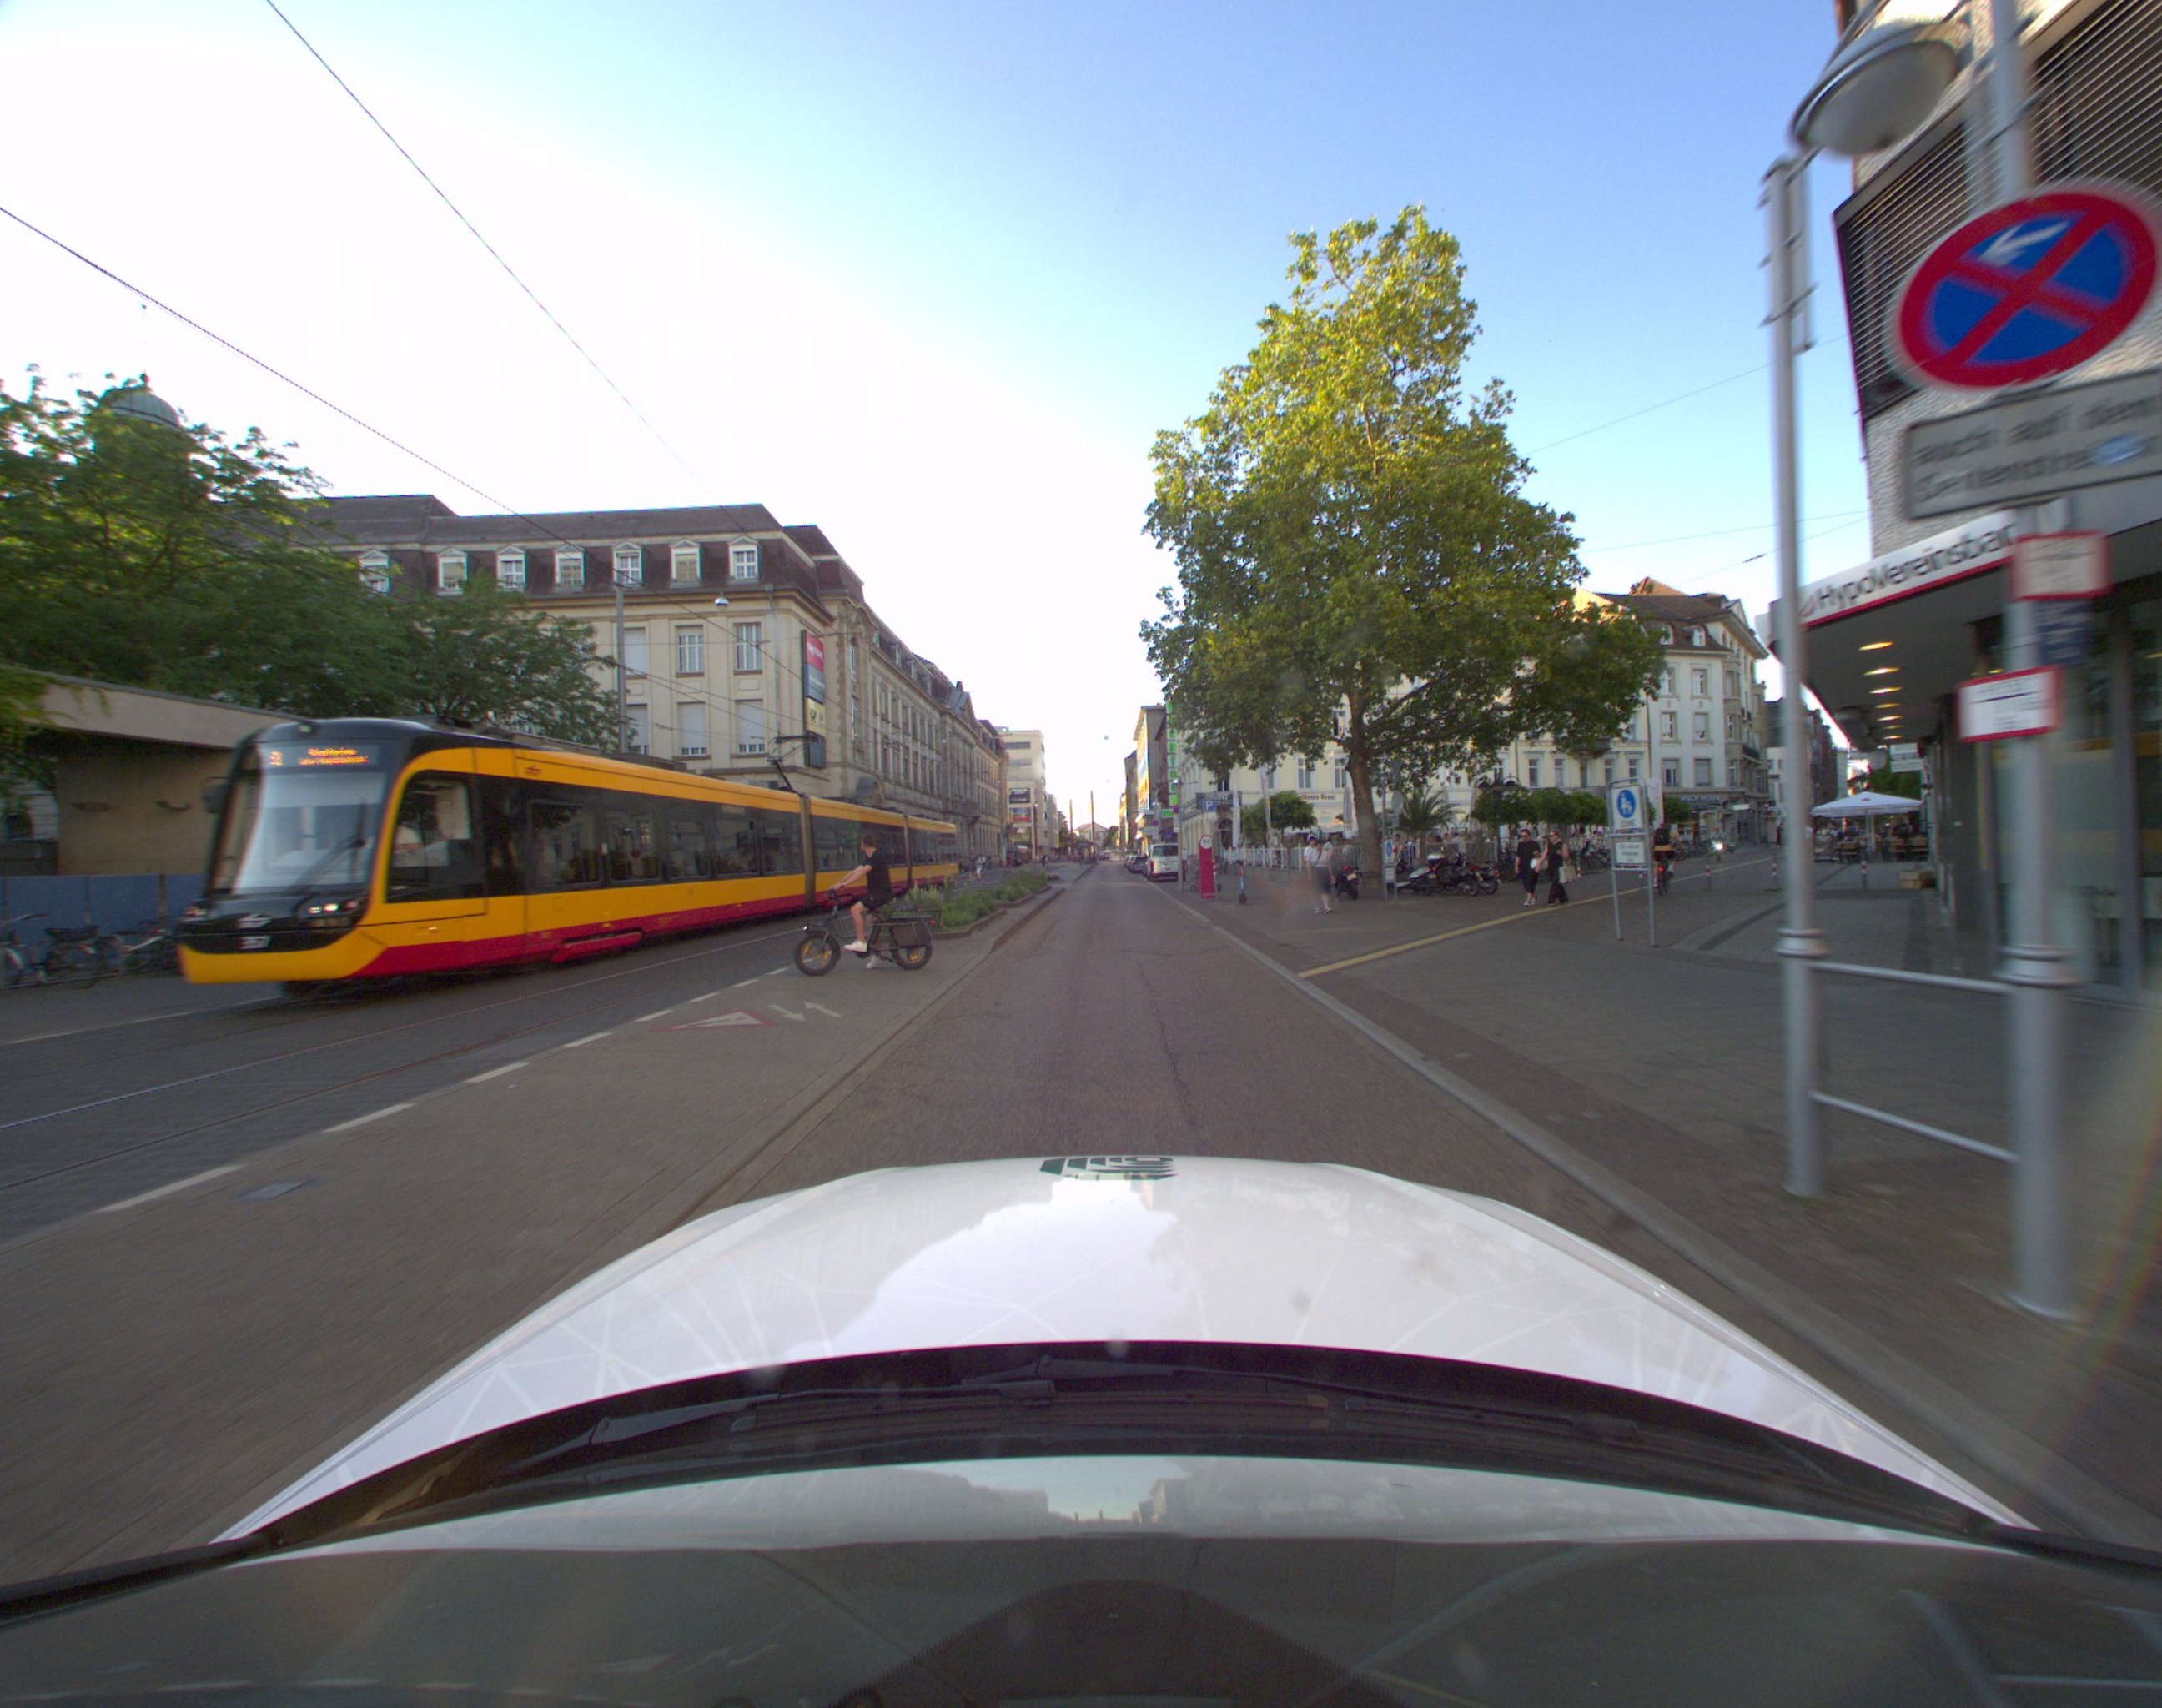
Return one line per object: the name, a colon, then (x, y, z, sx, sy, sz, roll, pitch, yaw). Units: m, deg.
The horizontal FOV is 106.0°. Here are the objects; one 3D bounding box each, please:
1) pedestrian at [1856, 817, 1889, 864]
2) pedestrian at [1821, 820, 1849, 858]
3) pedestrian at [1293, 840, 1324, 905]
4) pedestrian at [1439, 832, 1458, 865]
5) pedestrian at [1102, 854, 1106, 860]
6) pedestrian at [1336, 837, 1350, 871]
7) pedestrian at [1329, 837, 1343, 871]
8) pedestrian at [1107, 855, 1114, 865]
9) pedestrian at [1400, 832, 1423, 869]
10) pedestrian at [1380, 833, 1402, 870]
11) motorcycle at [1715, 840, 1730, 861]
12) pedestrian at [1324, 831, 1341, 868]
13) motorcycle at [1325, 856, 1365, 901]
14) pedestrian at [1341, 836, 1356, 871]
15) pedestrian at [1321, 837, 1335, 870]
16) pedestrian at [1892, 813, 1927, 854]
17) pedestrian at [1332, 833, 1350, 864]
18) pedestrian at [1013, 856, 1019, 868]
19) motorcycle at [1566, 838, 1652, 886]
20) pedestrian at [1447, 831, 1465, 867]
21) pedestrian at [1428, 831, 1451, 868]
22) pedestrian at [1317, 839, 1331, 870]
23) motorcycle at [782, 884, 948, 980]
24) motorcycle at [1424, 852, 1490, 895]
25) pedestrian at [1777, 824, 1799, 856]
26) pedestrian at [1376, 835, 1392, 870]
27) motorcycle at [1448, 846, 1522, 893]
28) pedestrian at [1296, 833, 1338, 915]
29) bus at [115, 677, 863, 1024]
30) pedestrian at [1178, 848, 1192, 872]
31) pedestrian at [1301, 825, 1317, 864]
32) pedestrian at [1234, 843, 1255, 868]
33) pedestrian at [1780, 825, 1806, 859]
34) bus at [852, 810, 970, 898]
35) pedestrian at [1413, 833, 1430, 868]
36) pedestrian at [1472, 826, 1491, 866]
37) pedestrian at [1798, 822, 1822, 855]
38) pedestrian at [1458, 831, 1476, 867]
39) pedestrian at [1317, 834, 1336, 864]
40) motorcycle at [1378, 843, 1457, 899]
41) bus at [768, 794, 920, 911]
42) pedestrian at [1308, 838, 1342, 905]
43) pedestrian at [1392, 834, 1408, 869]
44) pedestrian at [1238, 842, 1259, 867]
pedestrian: (30.581, -0.512, 31.454, 0.621, 1.787, 0.573, -2, -2, -7)
pedestrian: (41.173, -0.813, 44.475, 0.829, 1.969, 0.767, -3, -2, 29)
pedestrian: (6.251, 0.512, 22.404, 0.611, 1.717, 0.662, -2, -2, 3)
pedestrian: (14.742, -0.224, 32.682, 0.535, 1.285, 0.477, -3, -2, 11)
pedestrian: (6.141, 0.799, 219.087, 0.773, 1.734, 0.818, -4, -3, 42)
pedestrian: (10.220, 0.008, 31.789, 0.470, 1.285, 0.542, -3, -2, 16)
pedestrian: (10.133, 0.004, 32.402, 0.470, 1.330, 0.542, -3, -2, 16)
pedestrian: (5.740, 1.118, 158.581, 1.231, 1.928, 1.017, -1, 0, -14)
pedestrian: (11.704, -0.110, 28.865, 0.639, 1.285, 0.744, -3, -2, 18)
pedestrian: (11.090, -0.074, 29.121, 0.639, 1.285, 0.744, -3, -2, 18)
motorcycle: (32.481, -0.185, 41.234, 0.345, 1.033, 1.593, -3, -2, 32)
pedestrian: (10.913, -0.171, 35.306, 0.614, 1.571, 0.633, -3, -2, 16)
motorcycle: (7.140, 0.636, 22.108, 0.453, 1.157, 2.032, -2, 0, 2)
pedestrian: (10.237, -0.011, 31.164, 0.470, 1.285, 0.542, -3, -2, 16)
pedestrian: (10.200, -0.018, 33.629, 0.470, 1.364, 0.542, -3, -2, 16)
pedestrian: (33.063, -0.805, 32.498, 0.619, 1.596, 0.757, -1, -2, -29)
pedestrian: (14.369, -0.299, 45.014, 0.755, 1.643, 0.659, -2, -2, -1)
pedestrian: (-8.658, 1.070, 108.545, 0.777, 1.580, 0.676, -2, 0, -10)
motorcycle: (14.715, 0.219, 22.746, 0.565, 1.282, 1.936, -1, 0, -35)
pedestrian: (13.577, -0.167, 29.496, 0.470, 1.285, 0.542, -3, -2, 18)
pedestrian: (12.733, -0.148, 28.943, 0.639, 1.285, 0.744, -3, -2, 18)
pedestrian: (10.217, 0.023, 34.250, 0.470, 1.305, 0.542, -3, -2, 16)
motorcycle: (-2.857, 1.003, 10.854, 2.054, 1.123, 0.563, -1, -2, -25)
motorcycle: (10.612, 0.525, 23.037, 0.553, 1.150, 1.783, -1, 1, -24)
pedestrian: (39.301, -0.766, 45.275, 0.604, 1.700, 0.595, -2, -2, 10)
pedestrian: (11.454, -0.046, 30.778, 0.473, 1.285, 0.528, -3, -2, 19)
motorcycle: (11.449, 0.426, 23.163, 0.563, 1.282, 1.942, -1, 0, -24)
pedestrian: (5.430, 0.453, 18.770, 0.711, 1.803, 0.825, -3, -1, 4)
bus: (-8.711, -0.039, 17.344, 2.811, 3.651, 17.080, -2, 0, 2)
pedestrian: (7.655, 0.446, 59.782, 0.785, 1.751, 0.893, -2, -2, -5)
pedestrian: (13.717, -0.583, 48.960, 0.614, 2.304, 0.577, -1, -2, -20)
pedestrian: (9.074, 0.081, 45.209, 0.899, 1.306, 0.967, -2, -2, 1)
pedestrian: (38.646, -0.645, 44.202, 0.666, 1.832, 0.764, -2, -2, 10)
bus: (-7.957, 0.105, 40.125, 2.811, 3.612, 11.827, -2, -1, 2)
pedestrian: (12.500, -0.124, 29.905, 0.470, 1.285, 0.542, -3, -2, 18)
pedestrian: (14.338, -0.263, 29.141, 0.470, 1.400, 0.542, -3, -2, 18)
pedestrian: (40.760, -0.848, 45.555, 0.741, 1.810, 0.767, -3, -2, 27)
pedestrian: (14.272, -0.186, 30.105, 0.470, 1.285, 0.542, -3, -2, 18)
pedestrian: (13.535, -0.263, 44.933, 0.755, 1.643, 0.659, -2, -2, 1)
motorcycle: (9.392, 0.436, 22.862, 0.567, 1.423, 2.278, -1, 2, -24)
bus: (-8.355, -0.027, 30.047, 2.811, 3.624, 8.293, -2, 0, 2)
pedestrian: (6.503, 0.466, 21.707, 0.675, 1.717, 0.655, -2, -2, 4)
pedestrian: (11.882, -0.081, 30.357, 0.470, 1.285, 0.542, -3, -2, 18)
pedestrian: (9.070, 0.050, 44.144, 0.899, 1.314, 0.967, -2, -2, 1)
